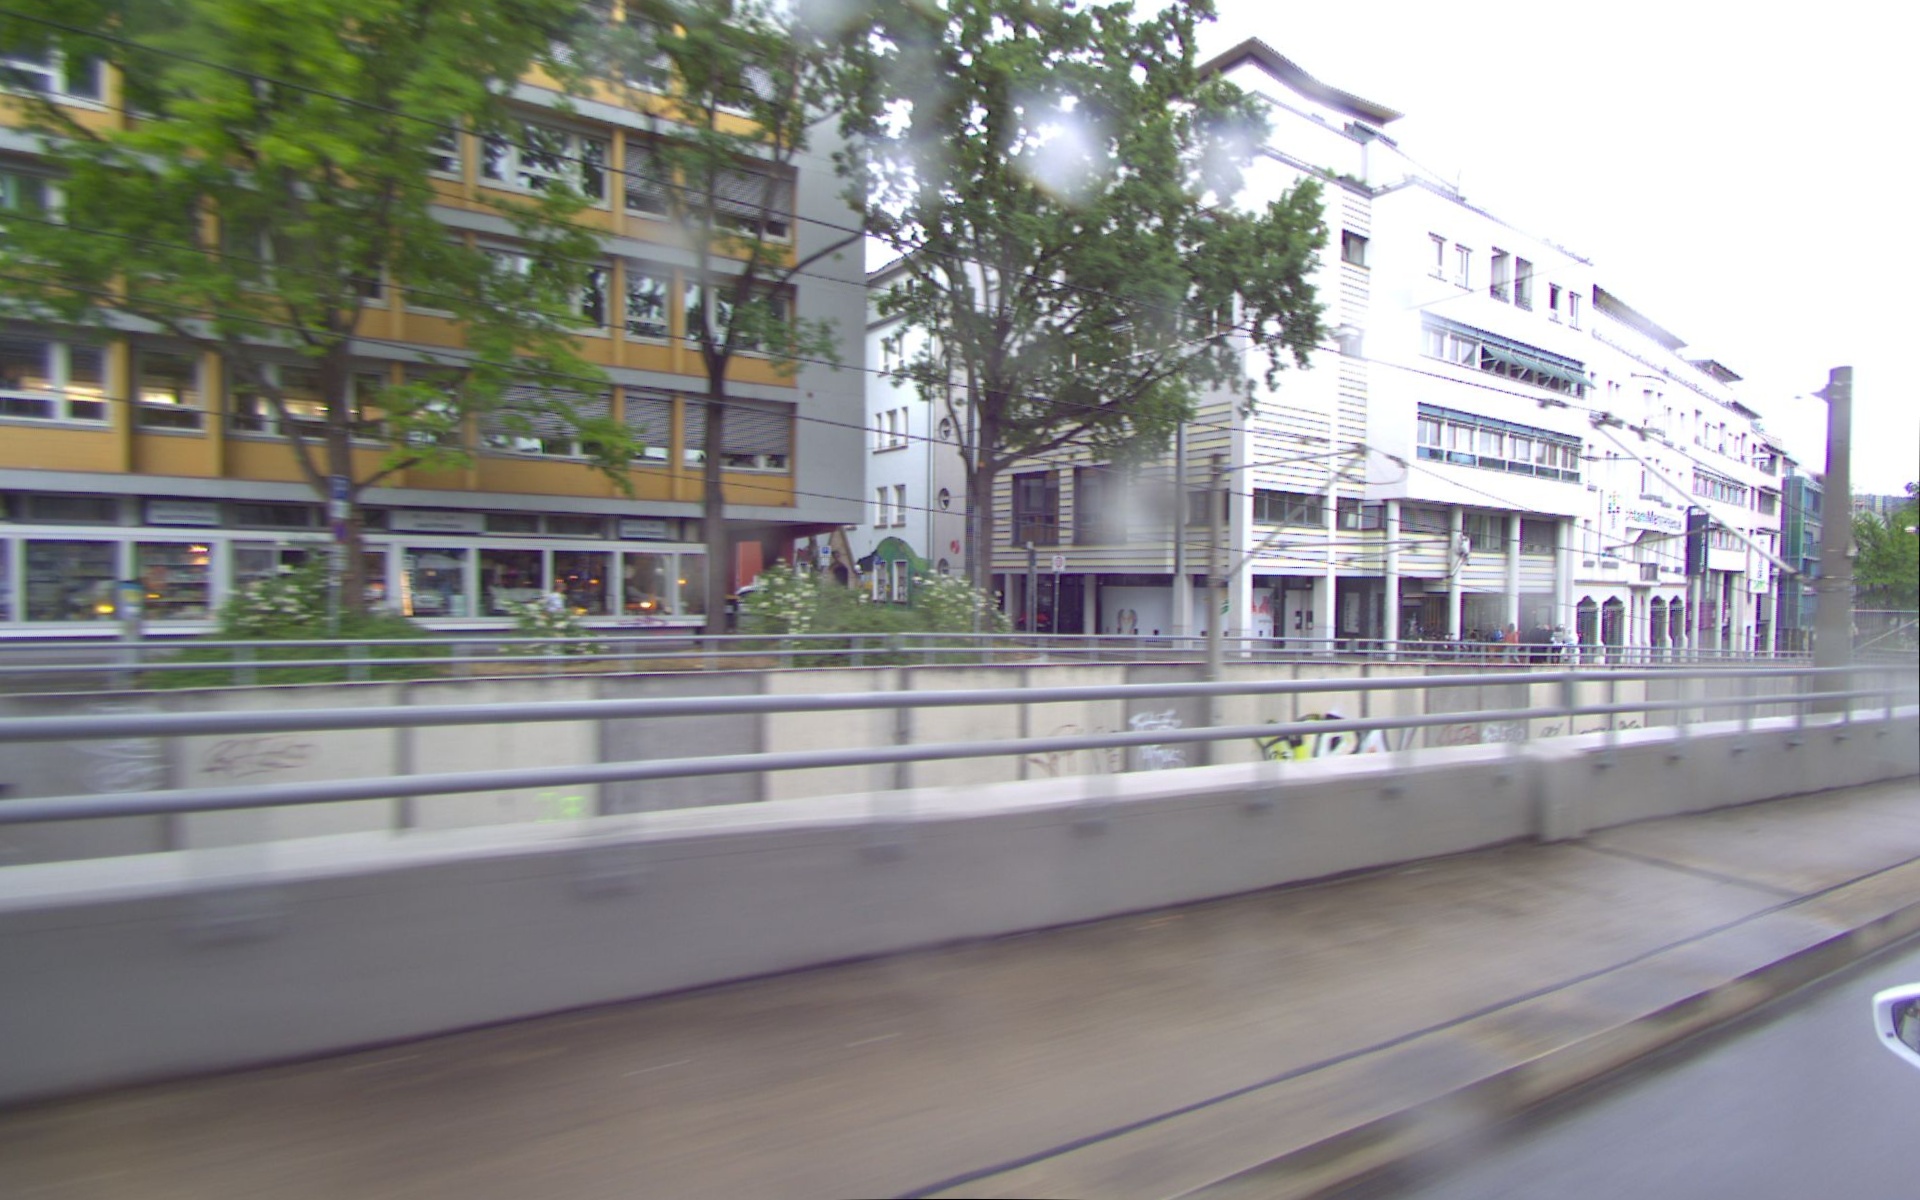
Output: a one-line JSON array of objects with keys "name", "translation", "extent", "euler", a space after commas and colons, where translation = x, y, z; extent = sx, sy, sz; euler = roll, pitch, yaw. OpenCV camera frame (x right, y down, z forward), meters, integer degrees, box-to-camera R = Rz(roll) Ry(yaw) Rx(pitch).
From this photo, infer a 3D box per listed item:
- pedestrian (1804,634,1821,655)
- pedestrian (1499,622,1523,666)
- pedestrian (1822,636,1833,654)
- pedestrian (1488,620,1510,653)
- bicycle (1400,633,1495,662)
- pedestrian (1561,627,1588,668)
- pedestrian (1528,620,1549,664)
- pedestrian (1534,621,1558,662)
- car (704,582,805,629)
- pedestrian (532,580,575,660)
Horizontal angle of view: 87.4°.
[{"name": "pedestrian", "translation": [81.347, 4.255, 95.869], "extent": [0.946, 1.893, 0.862], "euler": [2, 0, -22]}, {"name": "pedestrian", "translation": [21.132, 1.668, 38.521], "extent": [0.662, 1.637, 0.939], "euler": [2, 0, 34]}, {"name": "pedestrian", "translation": [80.576, 4.161, 93.305], "extent": [0.484, 1.694, 0.658], "euler": [2, -1, -42]}, {"name": "pedestrian", "translation": [24.262, 1.634, 45.210], "extent": [0.667, 1.438, 0.603], "euler": [2, 0, -36]}, {"name": "bicycle", "translation": [19.917, 1.892, 40.952], "extent": [4.480, 1.057, 1.681], "euler": [1, -1, -37]}, {"name": "pedestrian", "translation": [25.818, 1.990, 42.203], "extent": [0.660, 1.664, 0.796], "euler": [2, 0, 6]}, {"name": "pedestrian", "translation": [24.457, 1.763, 42.483], "extent": [0.662, 1.809, 0.939], "euler": [2, 0, 34]}, {"name": "pedestrian", "translation": [25.306, 1.784, 43.392], "extent": [0.660, 1.745, 0.610], "euler": [2, 0, 9]}, {"name": "car", "translation": [-8.432, 0.235, 41.427], "extent": [3.928, 1.810, 1.827], "euler": [1, 0, -10]}, {"name": "pedestrian", "translation": [-9.686, 0.478, 23.938], "extent": [0.821, 1.873, 0.662], "euler": [1, -2, -32]}]
